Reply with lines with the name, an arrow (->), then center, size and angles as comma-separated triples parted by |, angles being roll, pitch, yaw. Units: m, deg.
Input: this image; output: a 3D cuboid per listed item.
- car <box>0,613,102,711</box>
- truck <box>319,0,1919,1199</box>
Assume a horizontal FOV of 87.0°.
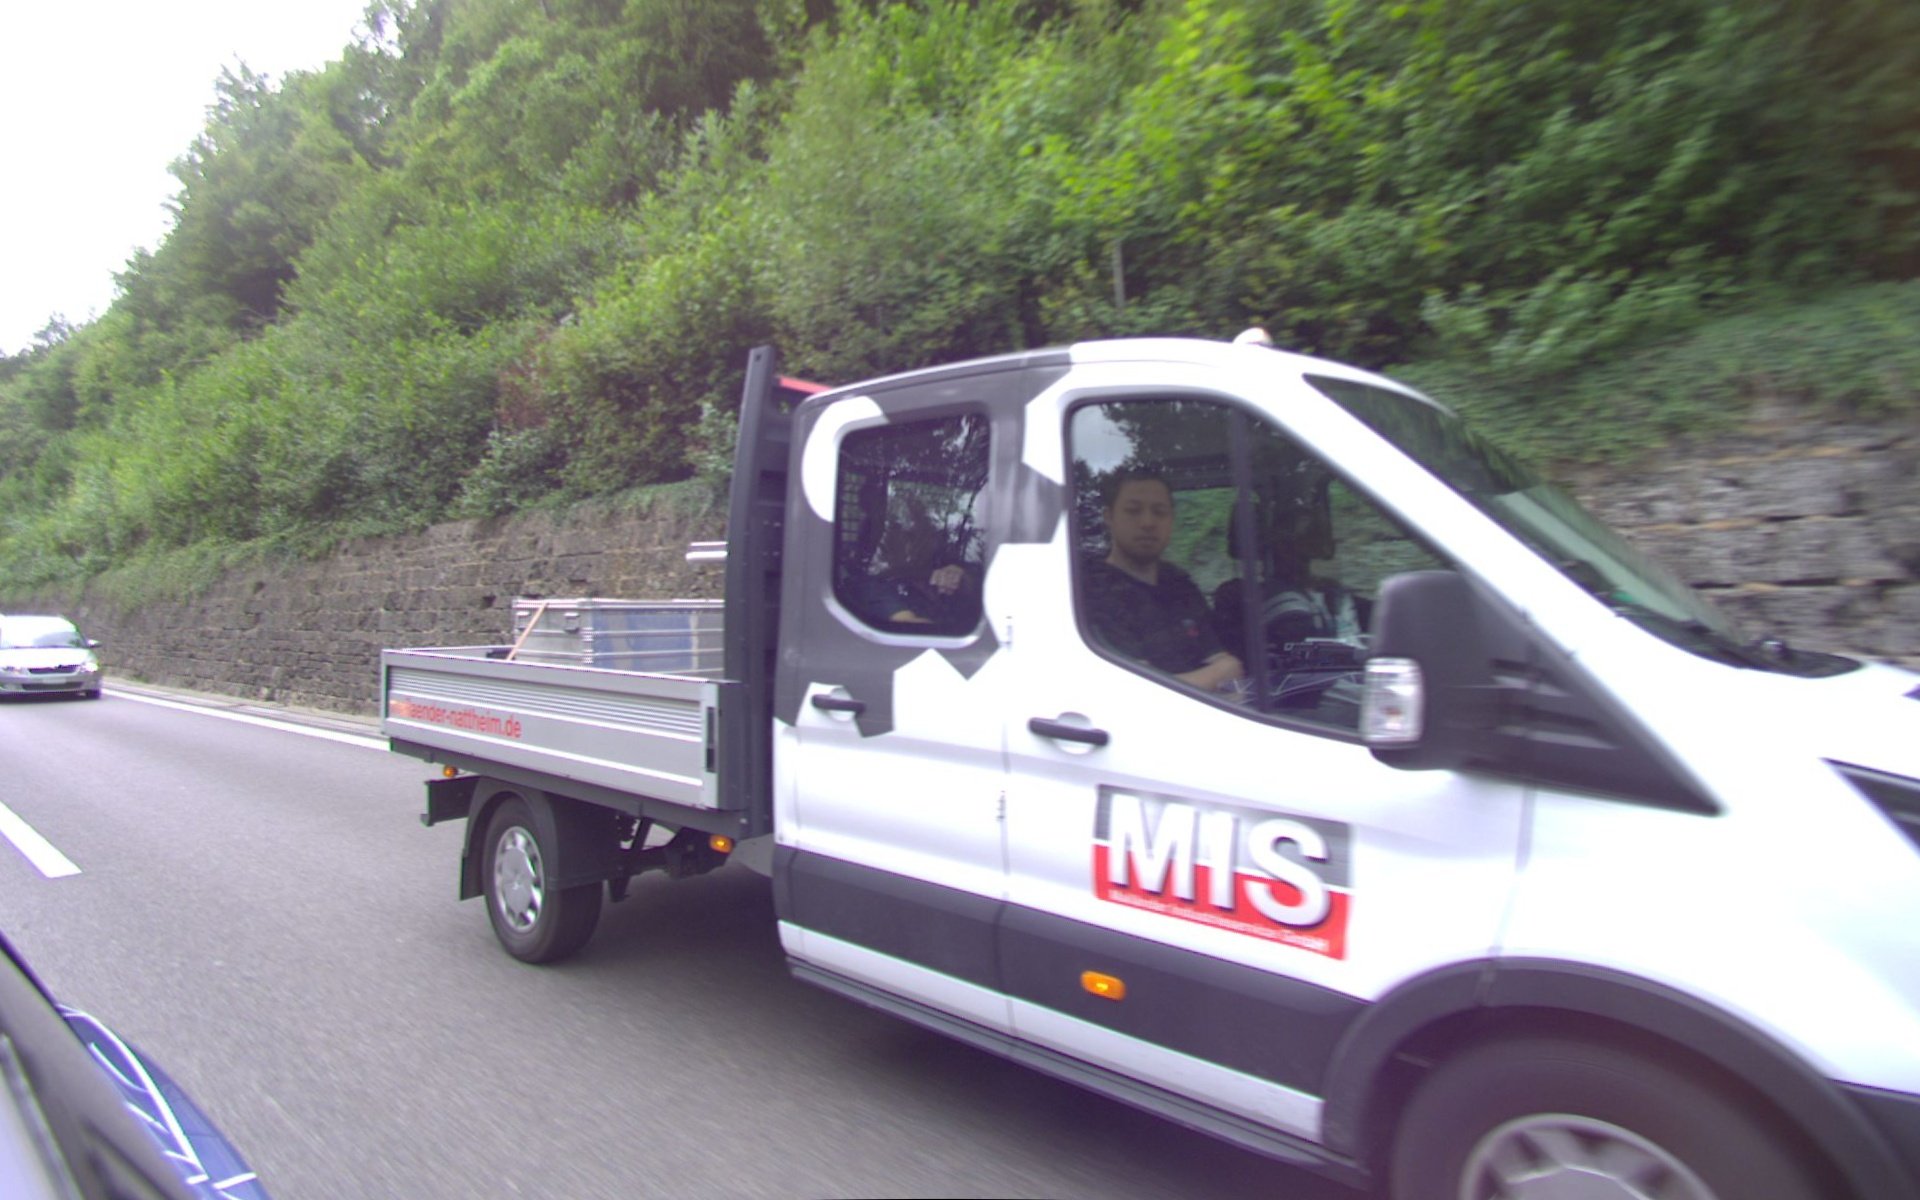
car -> -18.345, 1.146, 19.882 | 4.342, 1.740, 1.617 | -1, -2, 41
truck -> 0.199, 0.320, 3.717 | 6.843, 2.291, 2.326 | -1, 0, 40
